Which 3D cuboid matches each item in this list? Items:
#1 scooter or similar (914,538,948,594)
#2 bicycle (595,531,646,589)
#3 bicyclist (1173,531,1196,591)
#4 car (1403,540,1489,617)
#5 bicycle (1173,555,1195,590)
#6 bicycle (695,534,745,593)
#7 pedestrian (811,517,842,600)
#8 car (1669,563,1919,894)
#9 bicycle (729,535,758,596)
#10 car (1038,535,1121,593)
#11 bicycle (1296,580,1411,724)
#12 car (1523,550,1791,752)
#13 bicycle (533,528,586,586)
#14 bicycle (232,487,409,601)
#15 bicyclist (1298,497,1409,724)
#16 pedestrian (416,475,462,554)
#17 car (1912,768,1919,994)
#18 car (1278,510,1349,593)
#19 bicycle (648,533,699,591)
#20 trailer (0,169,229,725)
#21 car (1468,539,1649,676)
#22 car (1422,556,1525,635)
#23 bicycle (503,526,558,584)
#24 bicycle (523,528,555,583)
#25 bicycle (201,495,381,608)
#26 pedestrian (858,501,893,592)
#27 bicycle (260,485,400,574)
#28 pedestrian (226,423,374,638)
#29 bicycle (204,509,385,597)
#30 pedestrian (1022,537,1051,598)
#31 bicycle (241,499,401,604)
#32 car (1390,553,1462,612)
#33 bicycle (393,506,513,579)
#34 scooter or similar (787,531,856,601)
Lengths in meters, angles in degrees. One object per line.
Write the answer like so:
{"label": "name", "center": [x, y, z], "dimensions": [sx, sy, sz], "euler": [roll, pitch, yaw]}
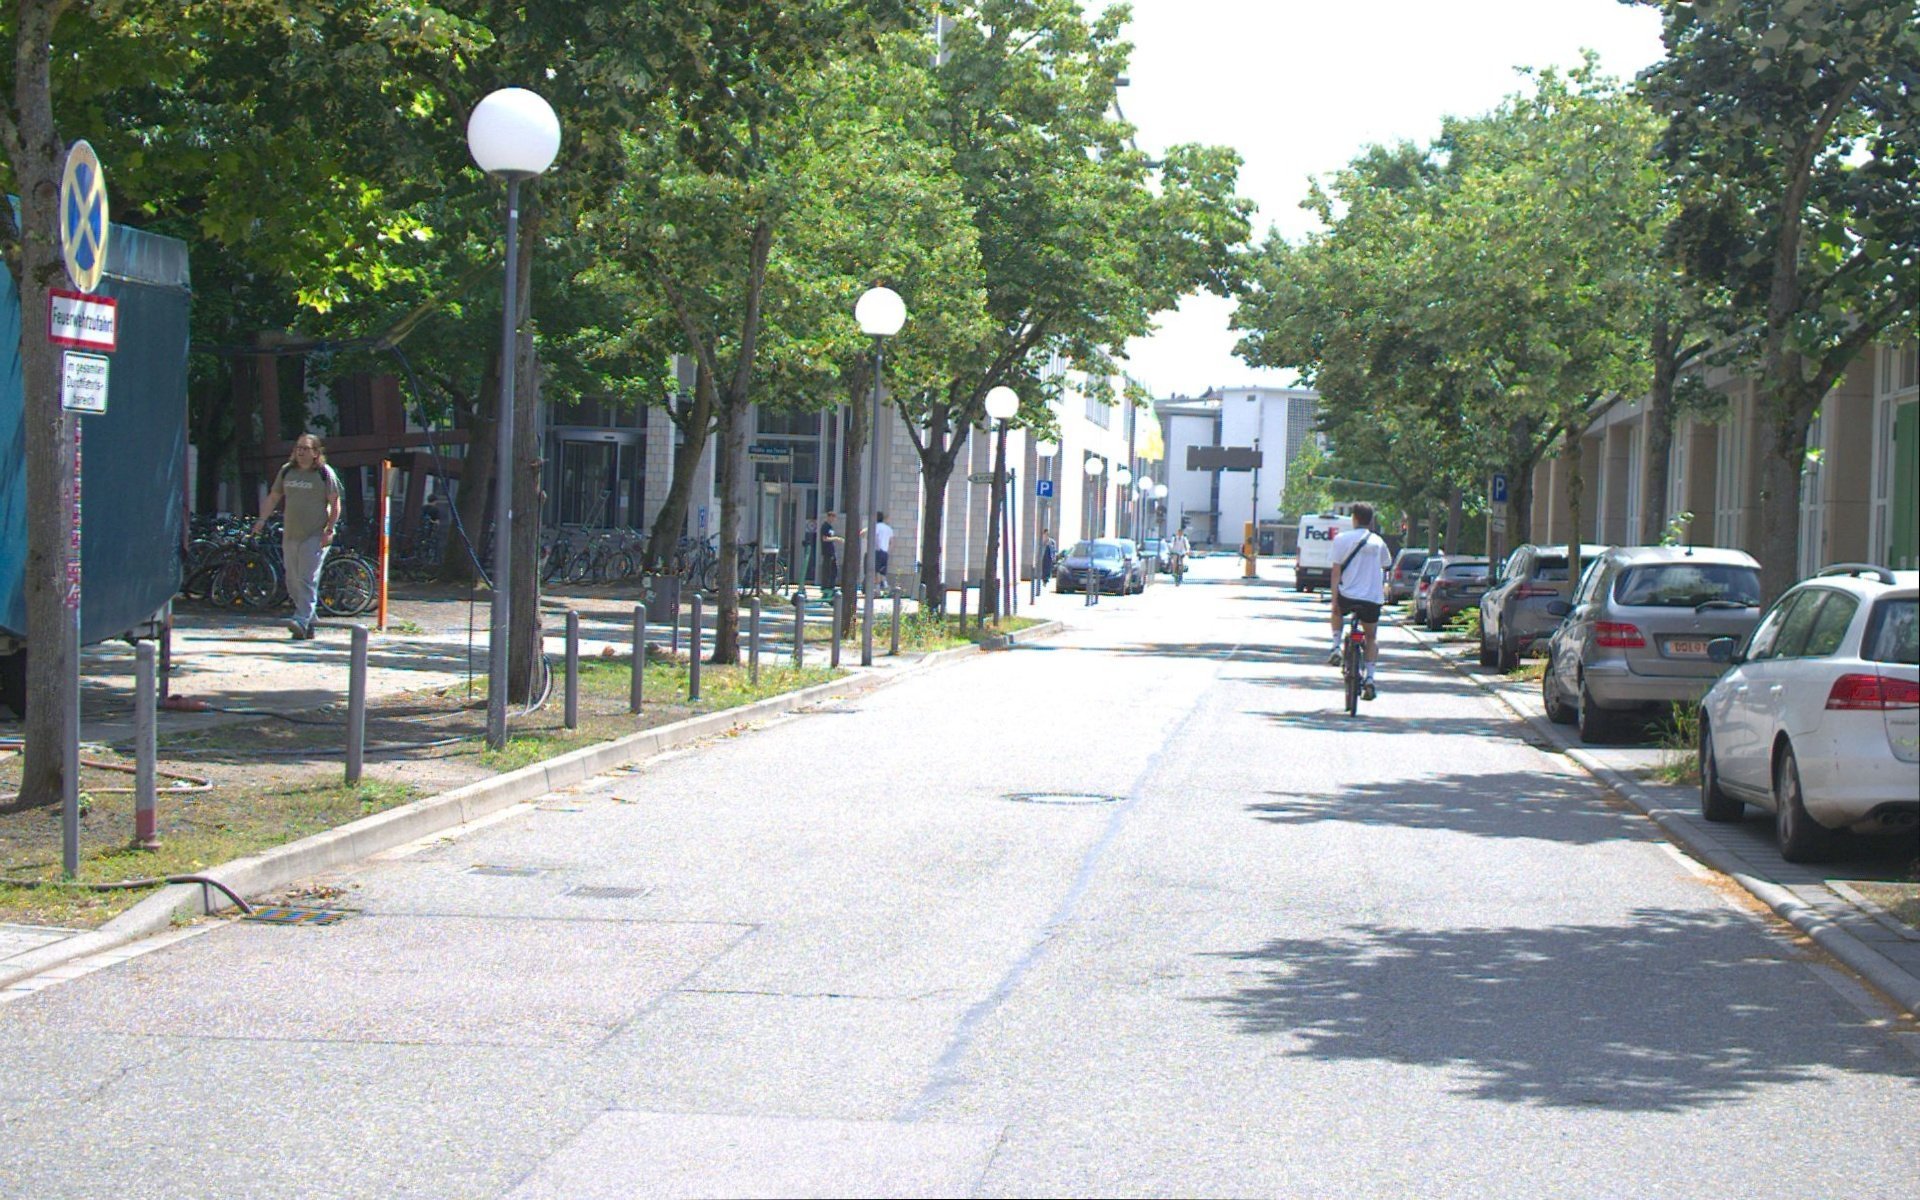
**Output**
{"label": "scooter or similar", "center": [-0.643, -0.760, 76.666], "dimensions": [0.454, 1.219, 1.548], "euler": [3, 1, 9]}
{"label": "bicycle", "center": [-6.678, -0.793, 67.693], "dimensions": [0.552, 1.083, 1.972], "euler": [5, 1, 6]}
{"label": "bicyclist", "center": [7.606, -1.334, 116.389], "dimensions": [0.711, 2.007, 1.019], "euler": [2, 1, 4]}
{"label": "car", "center": [10.460, -0.474, 74.139], "dimensions": [1.617, 1.533, 3.779], "euler": [3, 1, 6]}
{"label": "bicycle", "center": [7.590, -0.933, 116.337], "dimensions": [0.685, 1.126, 1.888], "euler": [3, 1, 4]}
{"label": "bicycle", "center": [-4.674, -0.709, 66.986], "dimensions": [0.552, 1.083, 1.972], "euler": [5, 1, 6]}
{"label": "pedestrian", "center": [-2.910, -0.910, 75.055], "dimensions": [0.441, 1.769, 0.451], "euler": [3, 1, -25]}
{"label": "car", "center": [4.934, 0.583, 18.022], "dimensions": [1.726, 1.462, 4.671], "euler": [2, 1, 4]}
{"label": "bicycle", "center": [-3.821, -0.612, 60.583], "dimensions": [0.381, 1.022, 1.815], "euler": [3, 1, -6]}
{"label": "car", "center": [3.245, -0.951, 92.663], "dimensions": [1.767, 1.423, 4.233], "euler": [3, 1, 7]}
{"label": "bicycle", "center": [3.586, 0.449, 31.523], "dimensions": [0.882, 1.195, 2.749], "euler": [3, 1, 5]}
{"label": "car", "center": [5.934, 0.380, 29.679], "dimensions": [1.704, 1.568, 4.140], "euler": [2, 1, 4]}
{"label": "bicycle", "center": [-7.853, -0.851, 67.478], "dimensions": [0.552, 1.083, 1.972], "euler": [5, 1, 6]}
{"label": "bicycle", "center": [-7.963, -0.700, 42.815], "dimensions": [2.053, 1.230, 0.809], "euler": [5, 1, -12]}
{"label": "bicyclist", "center": [3.607, 0.088, 31.552], "dimensions": [0.873, 2.007, 0.849], "euler": [3, 1, 5]}
{"label": "pedestrian", "center": [-11.215, -1.847, 74.058], "dimensions": [0.692, 1.655, 0.635], "euler": [3, 1, -34]}
{"label": "car", "center": [3.994, 0.729, 9.767], "dimensions": [1.646, 1.385, 3.989], "euler": [2, 2, 3]}
{"label": "car", "center": [11.599, -1.599, 112.928], "dimensions": [2.084, 2.531, 4.315], "euler": [4, 1, 5]}
{"label": "bicycle", "center": [-5.601, -0.749, 67.280], "dimensions": [0.552, 1.083, 1.972], "euler": [5, 1, 6]}
{"label": "trailer", "center": [-6.503, -0.911, 19.413], "dimensions": [2.697, 3.016, 6.265], "euler": [4, 1, 6]}
{"label": "car", "center": [7.752, 0.092, 44.886], "dimensions": [1.822, 1.658, 4.583], "euler": [1, 0, 4]}
{"label": "car", "center": [10.183, -0.124, 68.399], "dimensions": [1.781, 1.471, 4.461], "euler": [1, 1, 6]}
{"label": "bicycle", "center": [-8.422, -0.878, 67.473], "dimensions": [0.552, 1.083, 1.972], "euler": [5, 1, 6]}
{"label": "bicycle", "center": [-7.691, -0.821, 62.833], "dimensions": [0.475, 0.962, 1.657], "euler": [3, 1, -5]}
{"label": "bicycle", "center": [-8.135, -0.589, 41.817], "dimensions": [2.053, 1.230, 0.809], "euler": [4, 1, -12]}
{"label": "pedestrian", "center": [-1.826, -1.159, 74.230], "dimensions": [0.412, 1.935, 0.663], "euler": [3, 1, -23]}
{"label": "bicycle", "center": [-11.139, -1.237, 60.816], "dimensions": [2.282, 1.445, 0.607], "euler": [3, 1, -27]}
{"label": "pedestrian", "center": [-6.263, -0.651, 32.647], "dimensions": [0.918, 1.948, 0.891], "euler": [5, 1, 16]}
{"label": "bicycle", "center": [-8.585, -0.605, 44.393], "dimensions": [2.146, 1.005, 0.678], "euler": [3, 1, -24]}
{"label": "pedestrian", "center": [2.206, -0.936, 99.270], "dimensions": [0.649, 1.695, 0.889], "euler": [4, 1, -5]}
{"label": "bicycle", "center": [-7.501, -0.570, 40.371], "dimensions": [1.772, 1.128, 0.459], "euler": [3, 1, -12]}
{"label": "car", "center": [13.039, -0.494, 96.430], "dimensions": [1.859, 1.568, 3.999], "euler": [2, 1, 6]}
{"label": "bicycle", "center": [-9.113, -1.031, 61.823], "dimensions": [2.014, 1.249, 0.587], "euler": [1, 2, -26]}
{"label": "scooter or similar", "center": [-2.459, -0.603, 60.976], "dimensions": [0.340, 1.171, 1.325], "euler": [4, 1, 41]}
